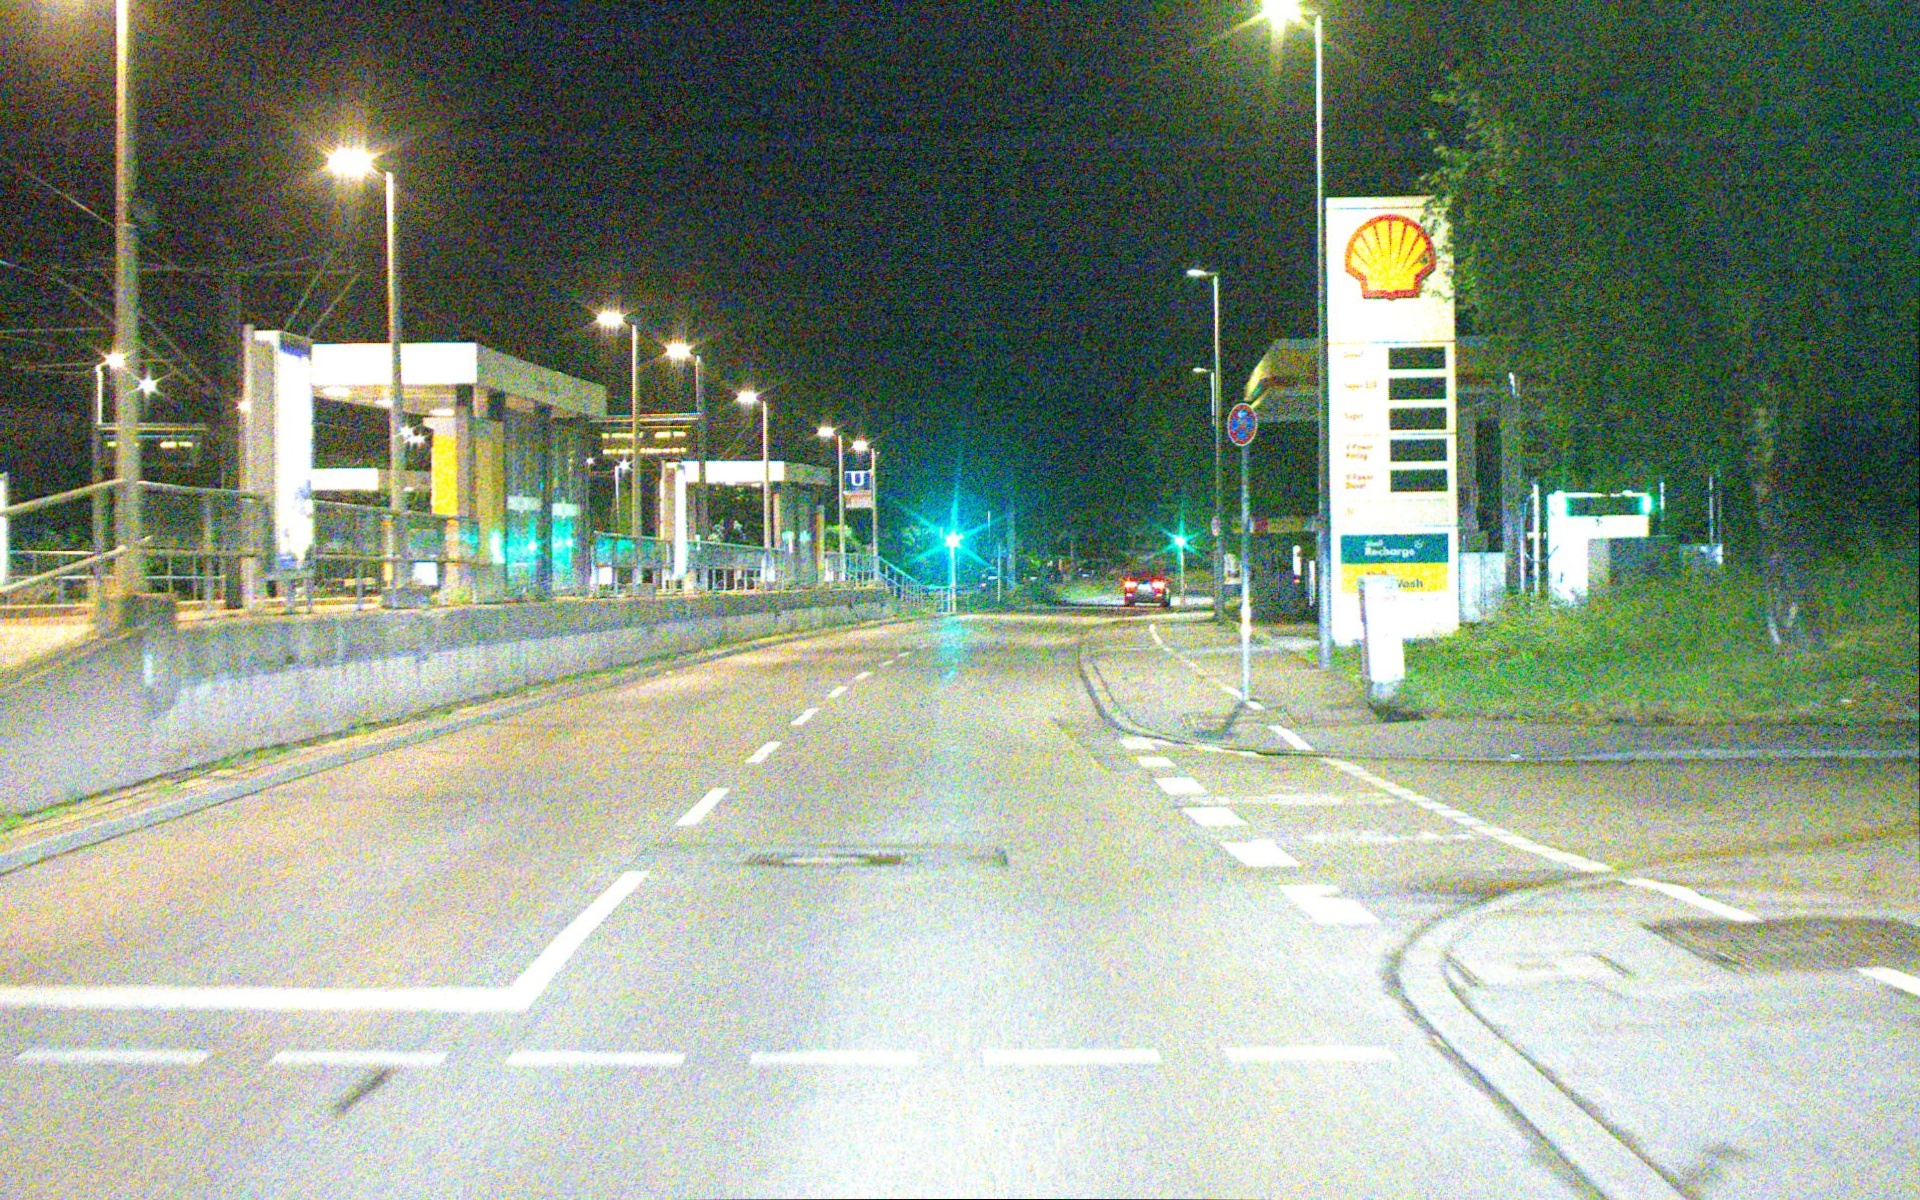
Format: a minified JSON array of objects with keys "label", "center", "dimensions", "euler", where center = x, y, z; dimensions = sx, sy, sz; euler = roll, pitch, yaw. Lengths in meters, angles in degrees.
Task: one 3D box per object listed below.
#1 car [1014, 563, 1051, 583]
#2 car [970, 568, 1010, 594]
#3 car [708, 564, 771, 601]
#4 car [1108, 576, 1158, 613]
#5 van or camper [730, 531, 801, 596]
[{"label":"car","center":[5.110,-1.891,241.773],"dimensions":[1.994,1.333,5.430],"euler":[0,1,8]},{"label":"car","center":[1.941,-1.231,221.772],"dimensions":[1.994,1.622,4.676],"euler":[0,1,8]},{"label":"car","center":[-9.009,-0.733,140.967],"dimensions":[1.646,1.335,4.542],"euler":[-4,0,7]},{"label":"car","center":[7.640,-0.255,151.519],"dimensions":[2.162,1.577,4.013],"euler":[0,0,4]},{"label":"van or camper","center":[-8.309,-1.567,147.351],"dimensions":[2.273,2.638,5.663],"euler":[-3,1,4]}]
